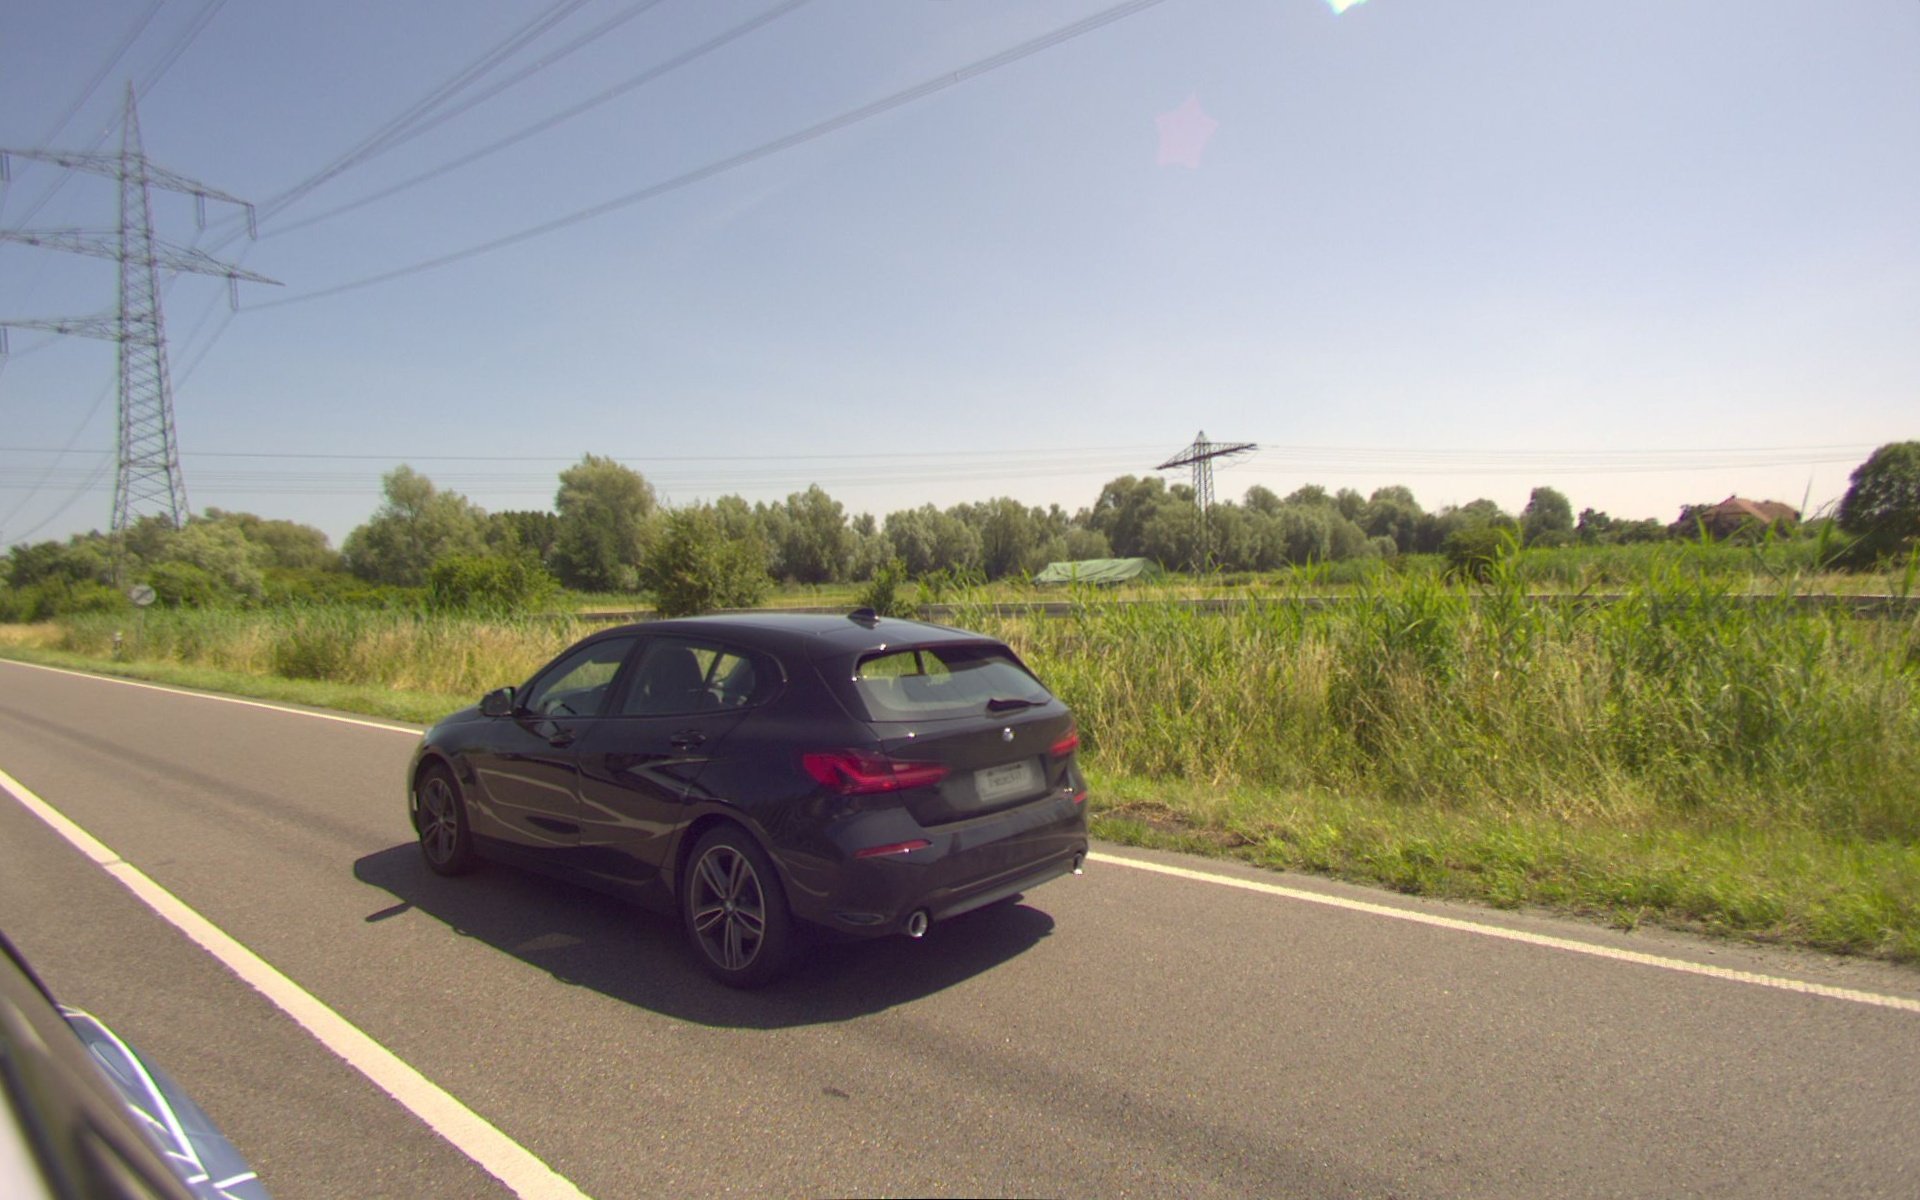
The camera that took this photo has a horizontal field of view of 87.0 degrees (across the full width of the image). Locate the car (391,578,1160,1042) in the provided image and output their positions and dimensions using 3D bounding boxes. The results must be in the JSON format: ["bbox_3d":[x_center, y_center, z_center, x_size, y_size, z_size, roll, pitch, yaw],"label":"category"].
[{"bbox_3d":[-1.186,0.708,5.206,3.997,1.475,1.764,-1,-1,40],"label":"car"}]
